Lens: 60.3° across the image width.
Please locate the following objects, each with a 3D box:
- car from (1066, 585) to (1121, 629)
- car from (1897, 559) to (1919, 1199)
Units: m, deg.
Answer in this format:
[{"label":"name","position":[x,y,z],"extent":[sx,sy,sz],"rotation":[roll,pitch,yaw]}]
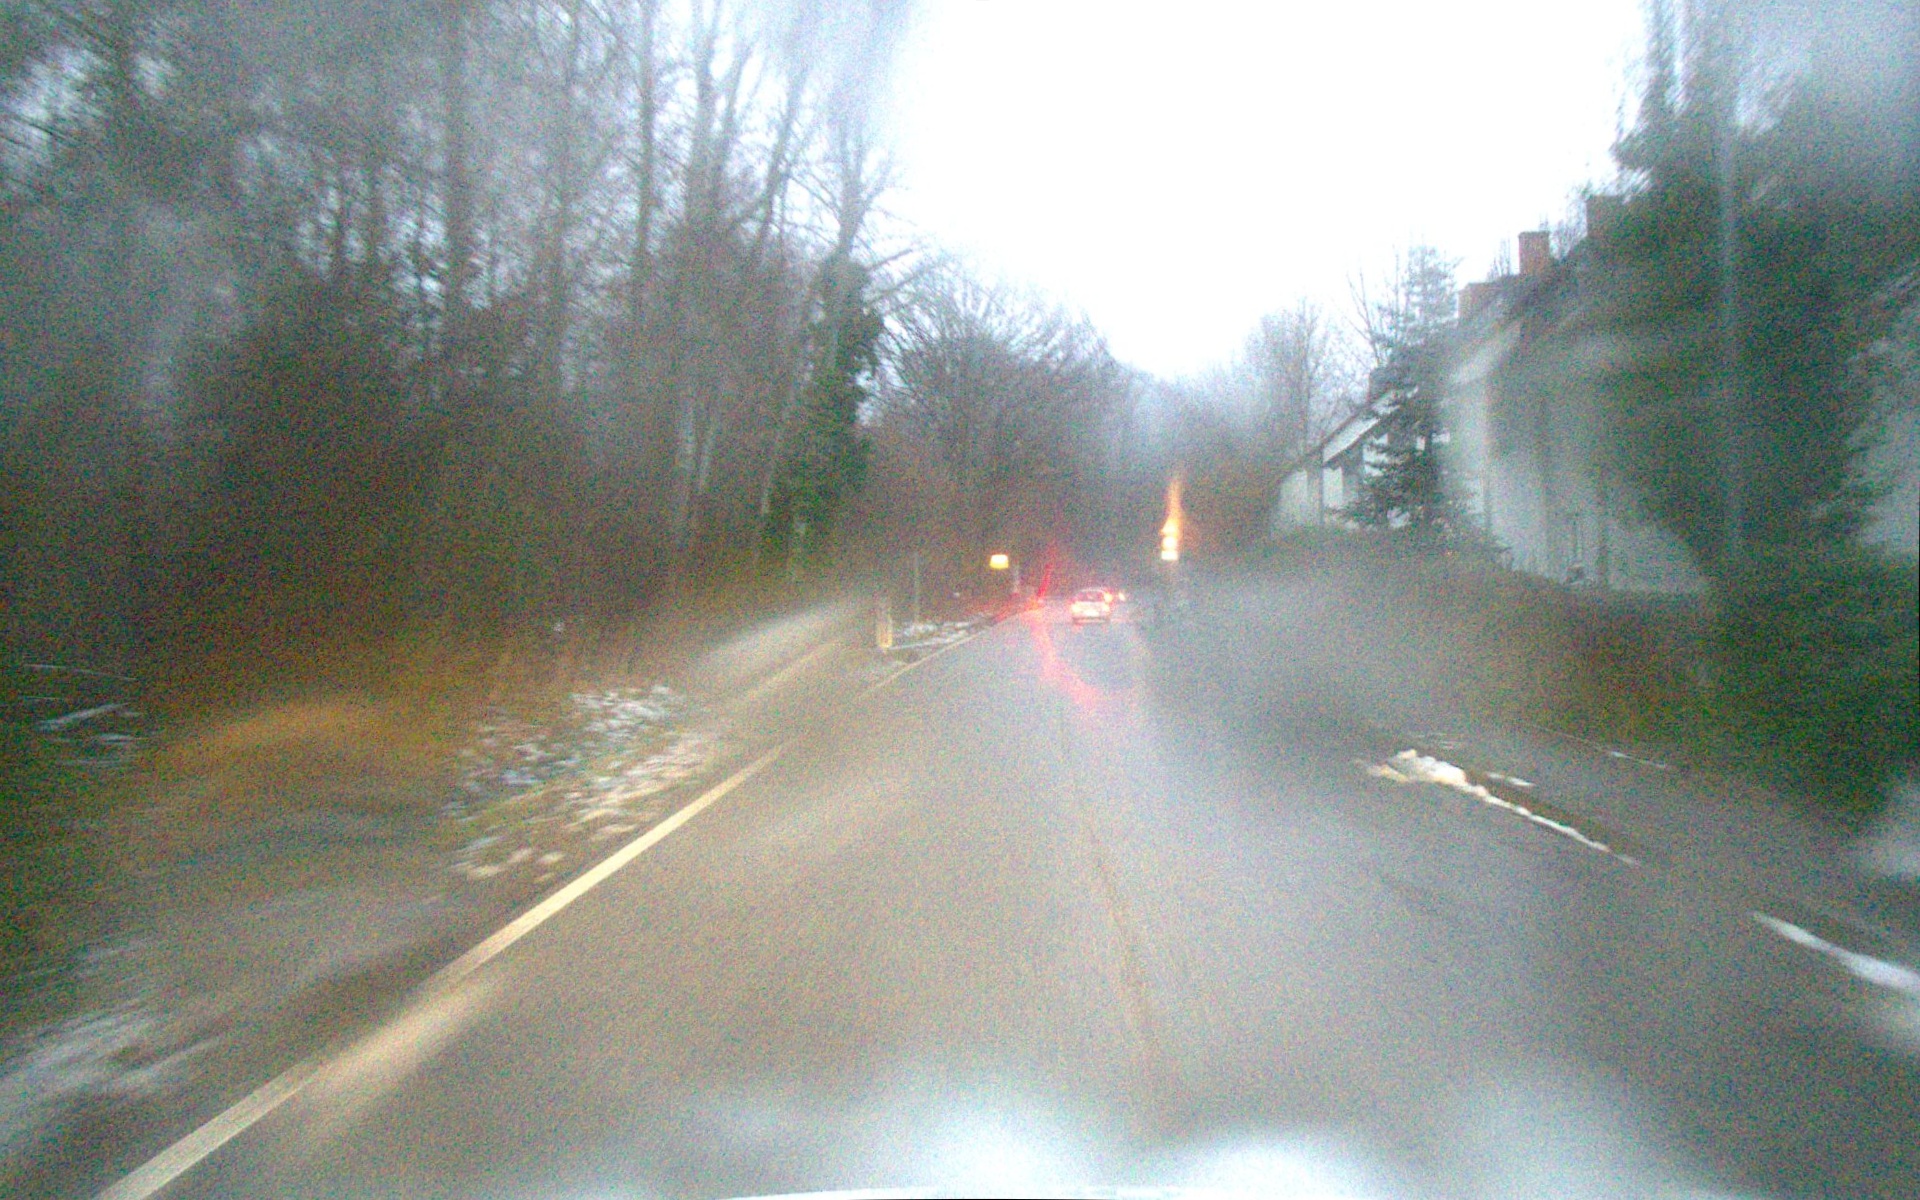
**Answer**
[{"label":"car","position":[5.674,0.267,69.842],"extent":[1.891,1.812,4.004],"rotation":[0,1,11]},{"label":"car","position":[2.777,0.693,1.349],"extent":[1.669,1.532,4.023],"rotation":[1,0,-2]}]
